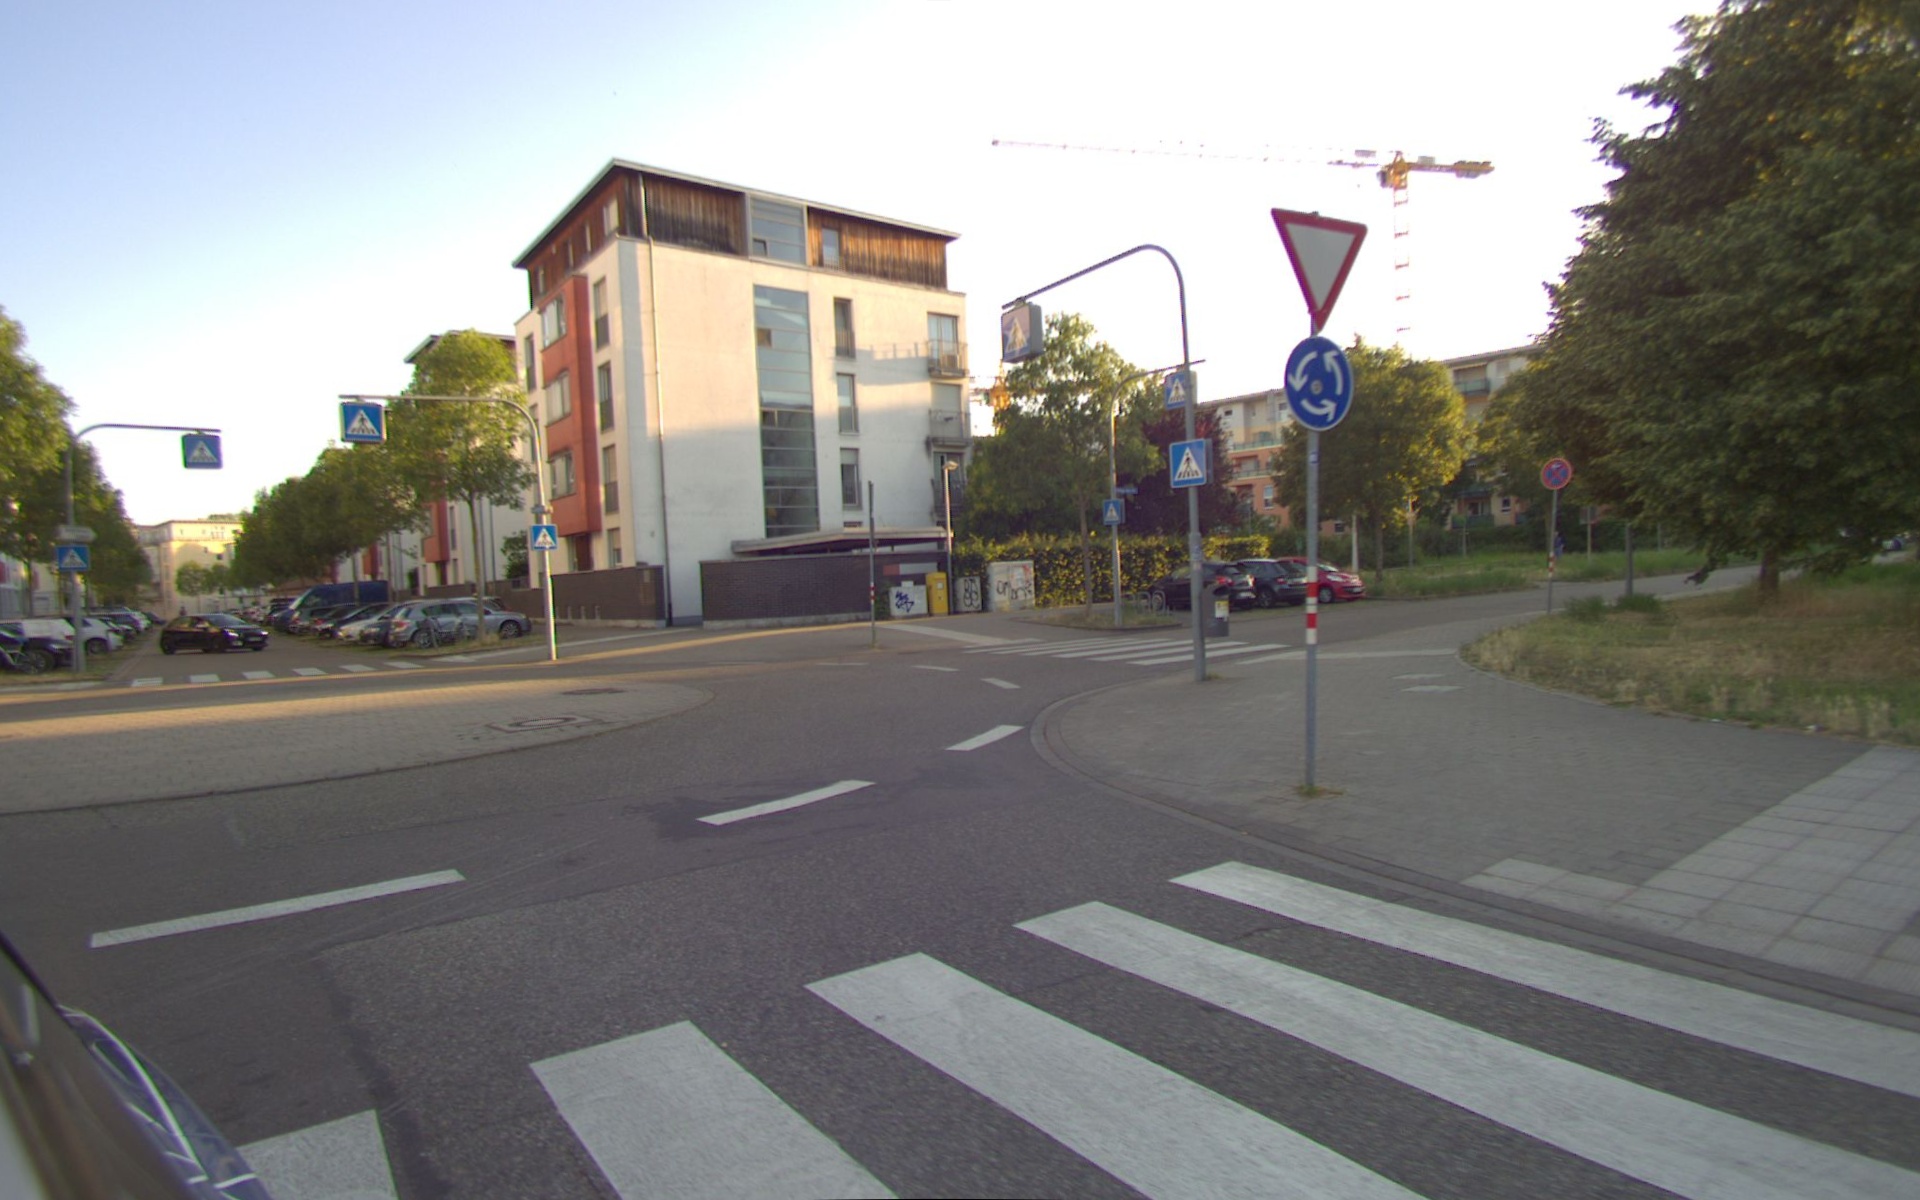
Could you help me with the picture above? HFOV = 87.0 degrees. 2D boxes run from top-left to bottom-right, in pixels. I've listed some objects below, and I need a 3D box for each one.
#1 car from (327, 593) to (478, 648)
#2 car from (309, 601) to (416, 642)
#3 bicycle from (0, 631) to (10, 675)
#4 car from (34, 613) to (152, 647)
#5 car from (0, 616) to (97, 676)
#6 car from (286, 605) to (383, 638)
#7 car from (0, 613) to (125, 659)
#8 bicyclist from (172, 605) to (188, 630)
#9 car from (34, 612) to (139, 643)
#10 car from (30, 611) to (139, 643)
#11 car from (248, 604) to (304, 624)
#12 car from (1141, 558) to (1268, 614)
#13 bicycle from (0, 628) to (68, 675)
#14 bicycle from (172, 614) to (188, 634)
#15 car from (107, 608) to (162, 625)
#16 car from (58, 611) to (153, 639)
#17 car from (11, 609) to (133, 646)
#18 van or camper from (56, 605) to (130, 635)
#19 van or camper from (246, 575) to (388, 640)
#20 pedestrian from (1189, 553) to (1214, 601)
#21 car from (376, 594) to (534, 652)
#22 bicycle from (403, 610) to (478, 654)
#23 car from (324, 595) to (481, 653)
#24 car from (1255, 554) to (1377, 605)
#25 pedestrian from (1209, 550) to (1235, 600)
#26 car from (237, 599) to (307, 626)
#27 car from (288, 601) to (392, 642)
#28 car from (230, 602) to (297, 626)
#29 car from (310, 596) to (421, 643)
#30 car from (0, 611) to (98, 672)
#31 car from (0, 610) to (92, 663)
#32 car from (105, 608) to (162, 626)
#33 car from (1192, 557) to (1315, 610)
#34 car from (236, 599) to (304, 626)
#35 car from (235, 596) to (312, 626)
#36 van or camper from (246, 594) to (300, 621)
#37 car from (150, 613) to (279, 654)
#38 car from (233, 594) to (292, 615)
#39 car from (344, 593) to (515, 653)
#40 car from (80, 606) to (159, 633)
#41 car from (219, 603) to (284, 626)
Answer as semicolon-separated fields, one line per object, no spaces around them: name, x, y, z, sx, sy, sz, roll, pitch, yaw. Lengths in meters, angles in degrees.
car;-21.237;0.751;38.650;4.691;1.596;1.761;-7;3;-42
car;-27.258;0.966;46.200;3.862;1.526;1.726;-5;3;-42
bicycle;-23.850;1.279;23.915;2.004;1.054;0.474;-1;-1;-42
car;-41.197;1.394;48.144;4.189;1.520;1.754;-1;-1;-42
car;-24.973;1.172;25.451;4.810;1.469;1.942;-1;0;-36
car;-32.326;1.093;52.332;4.041;1.638;1.726;-1;-1;-42
car;-32.406;1.252;35.912;4.230;1.519;1.688;-1;-1;-41
bicyclist;-53.988;1.221;70.032;0.755;1.639;0.664;-4;1;-39
car;-47.276;1.484;54.902;4.185;1.548;1.696;-1;-1;-37
car;-44.931;1.375;52.009;4.189;1.520;1.754;-1;-1;-42
car;-63.780;1.320;94.382;4.185;1.800;1.696;-1;-1;-37
car;7.316;-0.417;30.531;1.663;1.533;3.419;-4;3;-36
bicycle;-22.624;1.238;24.284;1.812;1.080;0.474;-1;-1;-42
bicycle;-53.966;1.661;70.038;0.760;1.276;1.785;-4;1;-39
car;-82.233;1.656;100.858;4.185;1.627;1.696;-1;-1;-37
car;-50.508;1.444;59.943;4.185;1.548;1.696;-1;-1;-37
car;-39.763;1.217;45.395;4.041;1.520;1.668;-1;-1;-42
van or camper;-65.960;1.492;77.105;4.186;2.227;1.696;-1;-1;-38
van or camper;-35.689;0.358;56.292;6.222;3.109;2.445;-5;3;-42
pedestrian;8.356;-0.795;35.032;0.653;1.611;0.707;-2;3;26
car;-16.220;0.698;32.611;4.228;1.468;1.683;-5;2;-40
bicycle;-15.313;0.924;29.840;1.795;1.074;0.568;-8;4;-40
car;-20.019;0.814;36.444;4.711;1.566;1.715;-6;3;-34
car;11.487;-0.661;32.830;1.569;1.511;3.419;-4;3;-36
pedestrian;8.997;-0.860;34.745;0.621;1.679;0.737;-2;3;28
car;-51.563;0.898;75.876;4.186;1.945;1.696;-1;-1;-39
car;-30.391;1.038;49.681;4.042;1.637;1.726;-5;3;-42
car;-54.718;1.115;79.528;4.186;1.800;1.696;-1;-1;-39
car;-25.961;0.809;44.256;3.862;1.723;1.726;-5;3;-42
car;-26.673;1.225;27.765;4.343;1.519;1.747;-4;2;-35
car;-28.299;1.073;29.686;4.228;1.505;1.746;-1;-1;-39
car;-80.095;1.637;98.129;4.185;1.651;1.696;-1;-1;-37
car;9.084;-0.508;31.544;1.569;1.511;3.419;-4;3;-36
car;-52.875;0.958;77.580;4.186;2.018;1.696;-1;-1;-39
car;-45.871;0.734;67.658;4.186;1.945;1.696;-1;-1;-39
van or camper;-66.696;0.693;98.269;4.185;2.554;1.764;-1;-1;-37
car;-27.975;1.257;38.010;4.141;1.474;1.769;-1;0;16
car;-61.416;0.372;89.137;4.185;1.800;1.696;-1;-1;-37
car;-17.995;0.742;34.486;4.843;1.489;1.714;-7;3;-40
car;-58.853;1.350;70.969;4.185;1.792;1.696;-1;-1;-37
car;-57.694;1.171;82.442;4.186;1.800;1.696;-1;-1;-39
